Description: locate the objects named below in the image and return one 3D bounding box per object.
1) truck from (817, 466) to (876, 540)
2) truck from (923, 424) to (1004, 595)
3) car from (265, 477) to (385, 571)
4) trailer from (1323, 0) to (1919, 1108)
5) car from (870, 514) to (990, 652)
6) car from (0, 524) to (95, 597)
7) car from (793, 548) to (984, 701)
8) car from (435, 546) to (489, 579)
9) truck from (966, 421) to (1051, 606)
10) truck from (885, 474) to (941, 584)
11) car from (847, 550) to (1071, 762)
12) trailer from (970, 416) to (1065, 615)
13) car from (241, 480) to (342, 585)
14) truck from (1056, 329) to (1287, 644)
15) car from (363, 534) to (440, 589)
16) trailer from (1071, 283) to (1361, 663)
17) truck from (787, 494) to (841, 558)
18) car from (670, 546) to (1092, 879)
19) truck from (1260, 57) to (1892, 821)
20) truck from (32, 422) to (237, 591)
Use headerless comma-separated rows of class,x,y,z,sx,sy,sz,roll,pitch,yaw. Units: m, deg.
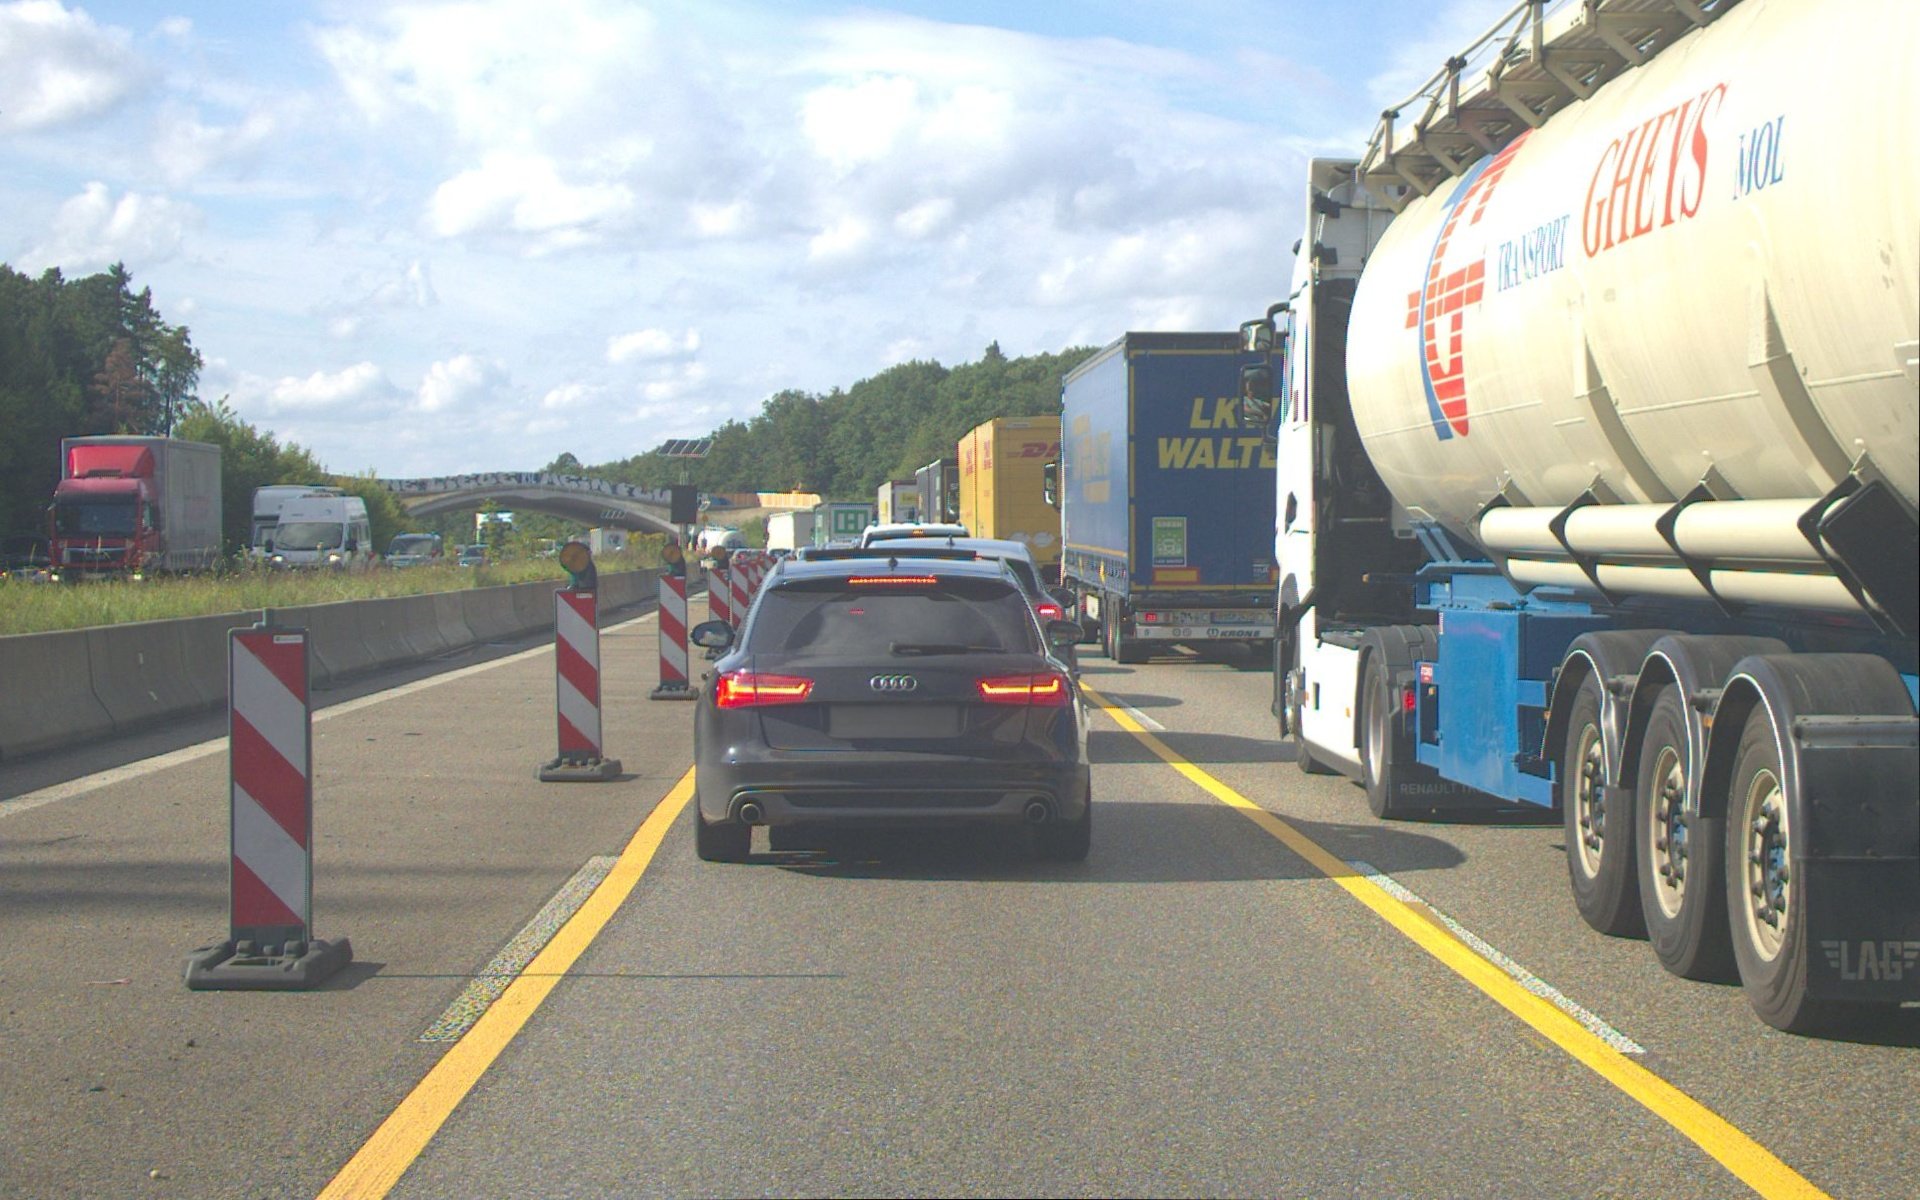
truck,-6.634,-5.566,199.774,3.303,4.160,9.703,0,1,-3
truck,0.037,-2.681,103.599,1.993,4.897,9.563,1,1,-2
car,-17.276,-2.061,93.878,2.160,2.443,6.332,1,1,-1
trailer,3.618,-0.778,14.123,2.644,3.929,12.598,1,1,-1
car,-0.427,-0.242,47.463,1.581,1.830,3.112,1,0,-1
car,-25.998,-1.123,97.481,1.993,2.007,4.000,1,0,-1
car,-0.690,0.211,33.641,1.751,1.392,3.608,1,0,-1
car,-21.652,-1.638,149.597,1.779,1.382,4.310,1,0,-1
truck,1.027,-1.846,74.759,1.609,3.883,4.072,1,0,-2
truck,-1.905,-2.786,136.931,2.137,4.243,7.072,1,0,-1
car,-0.029,0.371,25.337,1.524,1.434,3.285,1,0,-1
trailer,1.141,-1.690,70.893,1.616,3.905,6.490,1,0,-2
car,-22.226,-2.218,114.617,2.486,3.358,7.453,1,0,-5
truck,3.062,-1.623,51.875,2.806,4.354,7.792,1,0,-1
car,-18.901,-1.300,116.438,1.944,1.806,4.119,1,0,-1
trailer,3.168,-1.533,45.435,2.805,4.398,10.433,1,0,-1
truck,-9.826,-4.960,230.082,3.303,4.160,9.704,0,1,-4
car,-0.379,0.476,17.131,1.848,1.458,4.000,0,1,-1
truck,3.480,-0.867,20.902,2.659,3.958,5.779,1,0,-1
truck,-20.645,-2.315,86.575,2.800,3.978,10.186,1,1,-1
